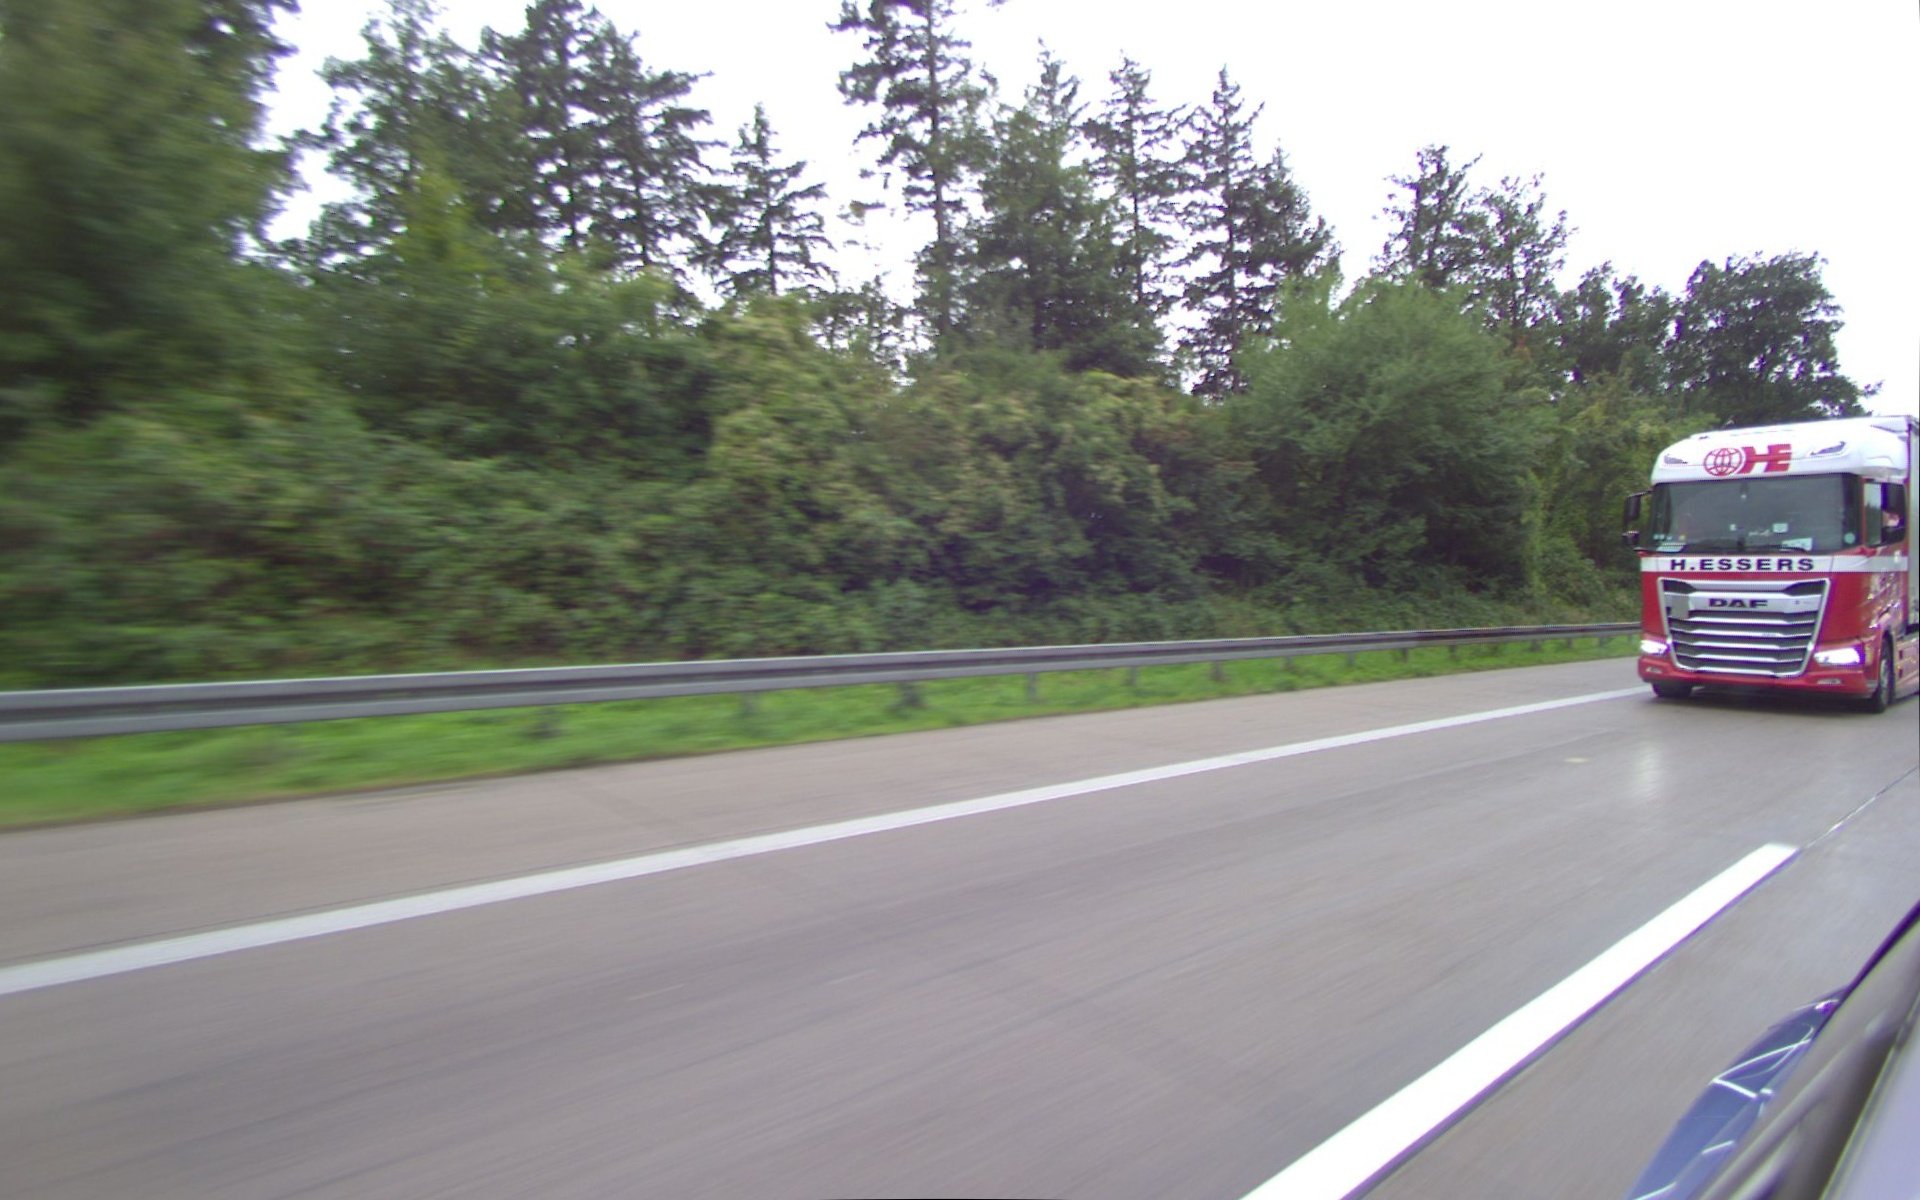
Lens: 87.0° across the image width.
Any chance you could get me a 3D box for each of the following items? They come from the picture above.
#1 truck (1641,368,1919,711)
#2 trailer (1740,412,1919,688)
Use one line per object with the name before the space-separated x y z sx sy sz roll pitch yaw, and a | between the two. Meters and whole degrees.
truck | 12.333 -0.705 14.662 6.048 4.003 2.380 1 0 -39
trailer | 18.196 -0.736 19.284 12.292 4.004 2.376 0 0 -38
